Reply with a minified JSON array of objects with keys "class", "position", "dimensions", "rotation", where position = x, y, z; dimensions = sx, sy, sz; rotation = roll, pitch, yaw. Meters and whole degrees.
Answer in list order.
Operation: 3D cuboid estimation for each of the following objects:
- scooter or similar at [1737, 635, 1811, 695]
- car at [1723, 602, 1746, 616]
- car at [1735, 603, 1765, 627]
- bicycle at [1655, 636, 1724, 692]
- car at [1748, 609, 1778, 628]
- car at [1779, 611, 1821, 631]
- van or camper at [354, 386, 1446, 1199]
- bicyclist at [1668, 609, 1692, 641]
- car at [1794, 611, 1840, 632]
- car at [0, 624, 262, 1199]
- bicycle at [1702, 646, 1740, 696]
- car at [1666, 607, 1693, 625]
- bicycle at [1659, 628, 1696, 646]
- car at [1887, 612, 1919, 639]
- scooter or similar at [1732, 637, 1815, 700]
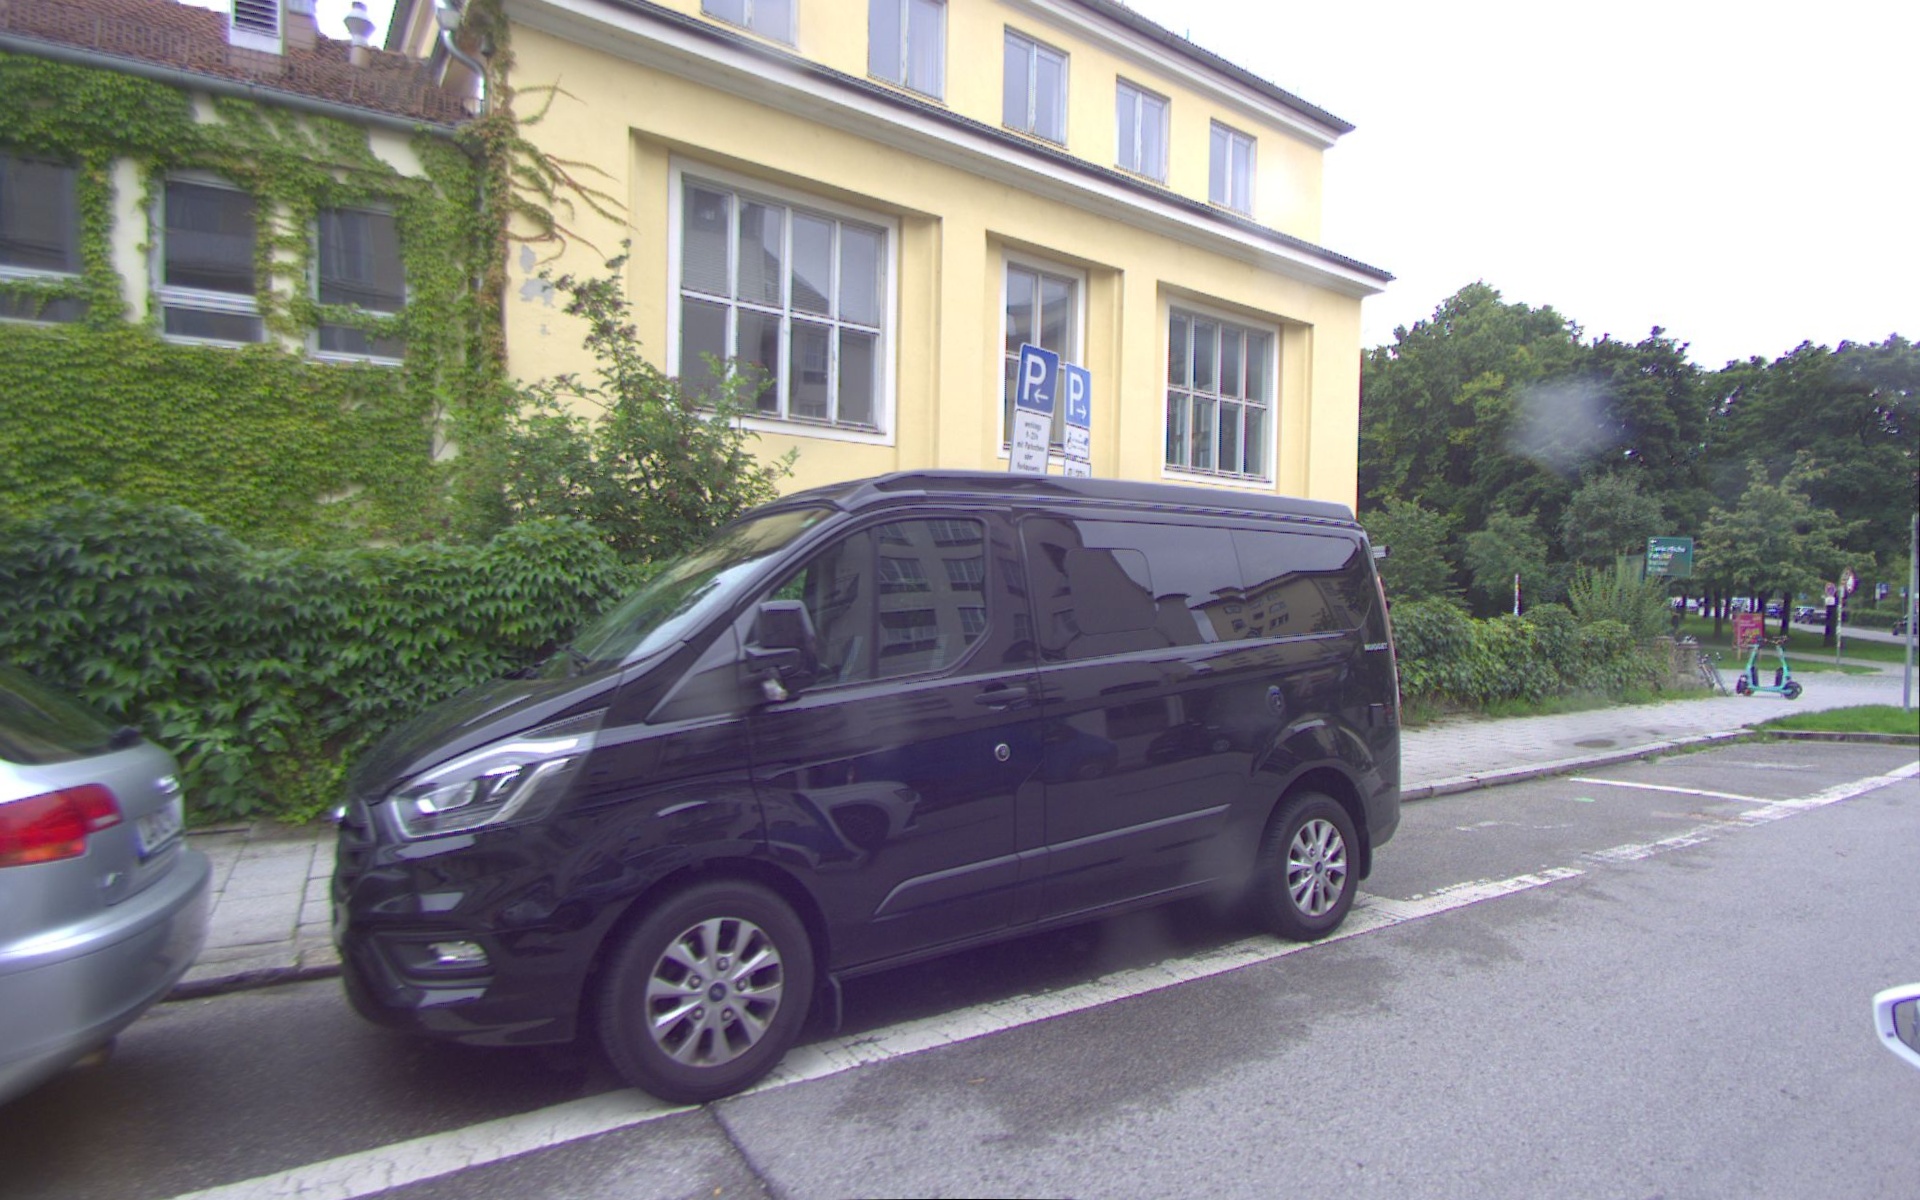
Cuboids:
[{"class":"scooter or similar","position":[16.999,1.343,20.989],"dimensions":[1.158,1.236,0.447],"rotation":[0,-1,3]},{"class":"car","position":[94.905,1.115,123.093],"dimensions":[1.621,1.674,4.275],"rotation":[1,0,31]},{"class":"car","position":[89.036,1.623,113.223],"dimensions":[1.848,2.602,4.922],"rotation":[2,1,30]},{"class":"bicycle","position":[16.282,1.409,22.453],"dimensions":[0.641,1.149,1.502],"rotation":[1,0,10]},{"class":"car","position":[84.090,1.901,105.203],"dimensions":[1.848,1.840,3.992],"rotation":[1,0,30]},{"class":"car","position":[77.158,1.898,92.369],"dimensions":[2.144,1.679,4.498],"rotation":[2,1,30]},{"class":"van or camper","position":[-0.017,0.559,4.638],"dimensions":[4.703,2.093,1.949],"rotation":[1,-2,-34]},{"class":"bicyclist","position":[33.720,1.167,47.038],"dimensions":[0.636,1.480,0.626],"rotation":[1,1,-23]},{"class":"car","position":[74.222,1.853,87.069],"dimensions":[2.144,1.679,4.497],"rotation":[2,1,30]},{"class":"car","position":[-4.018,0.771,2.098],"dimensions":[4.022,1.396,1.613],"rotation":[1,-3,-29]},{"class":"bicycle","position":[15.682,1.454,20.708],"dimensions":[0.463,0.935,1.202],"rotation":[1,1,30]},{"class":"car","position":[78.206,1.729,109.255],"dimensions":[1.964,1.862,3.992],"rotation":[2,1,30]},{"class":"bicycle","position":[33.638,1.713,47.105],"dimensions":[0.434,0.786,1.353],"rotation":[1,1,-23]},{"class":"car","position":[61.688,1.670,64.921],"dimensions":[1.837,1.655,4.272],"rotation":[2,1,33]},{"class":"scooter or similar","position":[16.483,1.365,20.363],"dimensions":[0.595,1.236,1.172],"rotation":[1,-2,-31]}]
